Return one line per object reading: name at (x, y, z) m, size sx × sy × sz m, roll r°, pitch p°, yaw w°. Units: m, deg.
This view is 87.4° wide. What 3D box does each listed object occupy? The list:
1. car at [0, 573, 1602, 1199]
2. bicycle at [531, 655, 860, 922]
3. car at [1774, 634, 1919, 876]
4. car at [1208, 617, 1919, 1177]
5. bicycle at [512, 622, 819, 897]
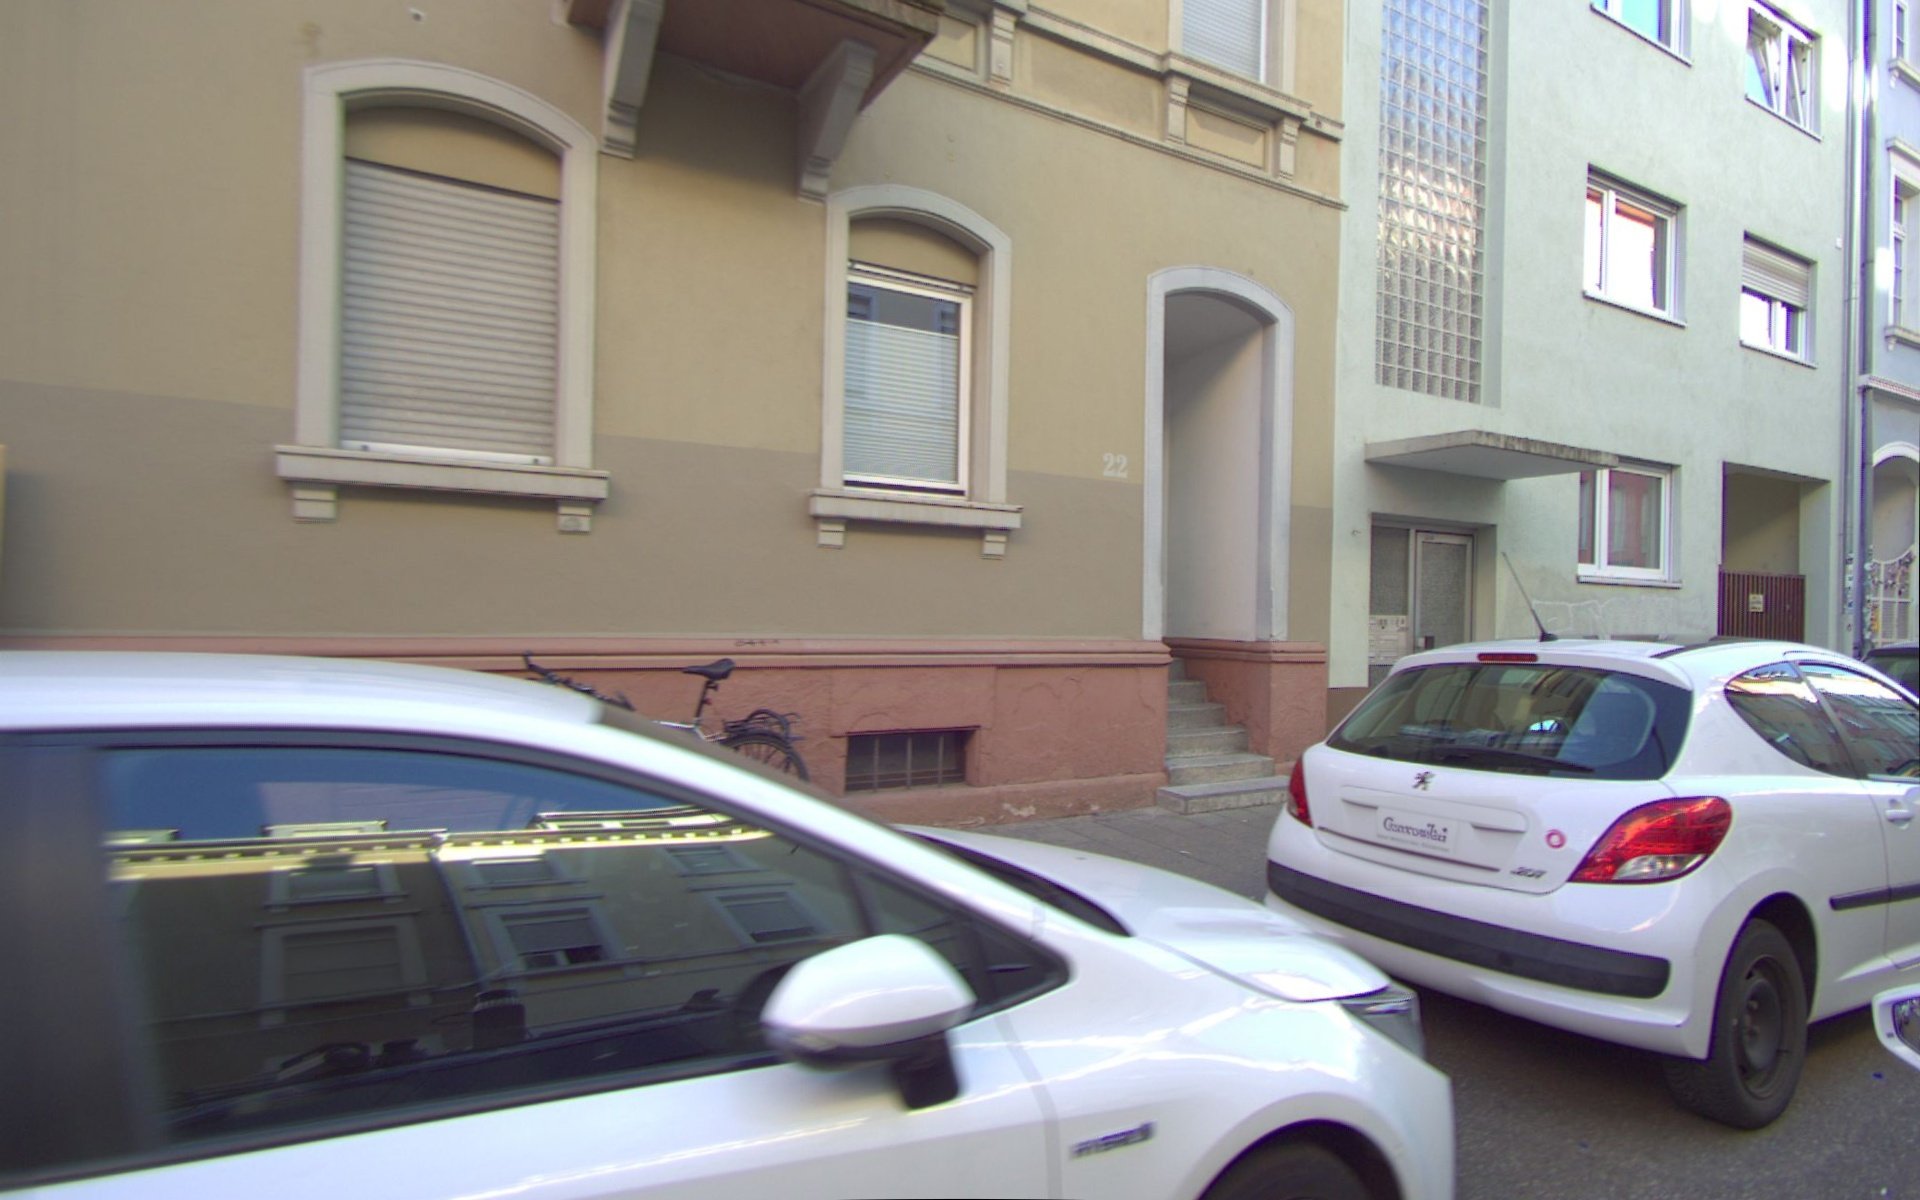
car at (-0.909, 0.744, 1.748) m, size 4.152 × 1.482 × 1.779 m, roll 1°, pitch -2°, yaw -31°
bicycle at (-1.255, 0.844, 4.886) m, size 1.477 × 1.116 × 0.415 m, roll 1°, pitch 0°, yaw -30°
car at (7.669, 0.976, 6.944) m, size 3.981 × 1.474 × 1.675 m, roll 1°, pitch -2°, yaw -27°
car at (3.180, 0.835, 4.443) m, size 3.953 × 1.471 × 1.781 m, roll 1°, pitch -1°, yaw -31°
bicycle at (-1.488, 0.762, 5.195) m, size 1.477 × 1.277 × 0.317 m, roll 1°, pitch 0°, yaw -30°
